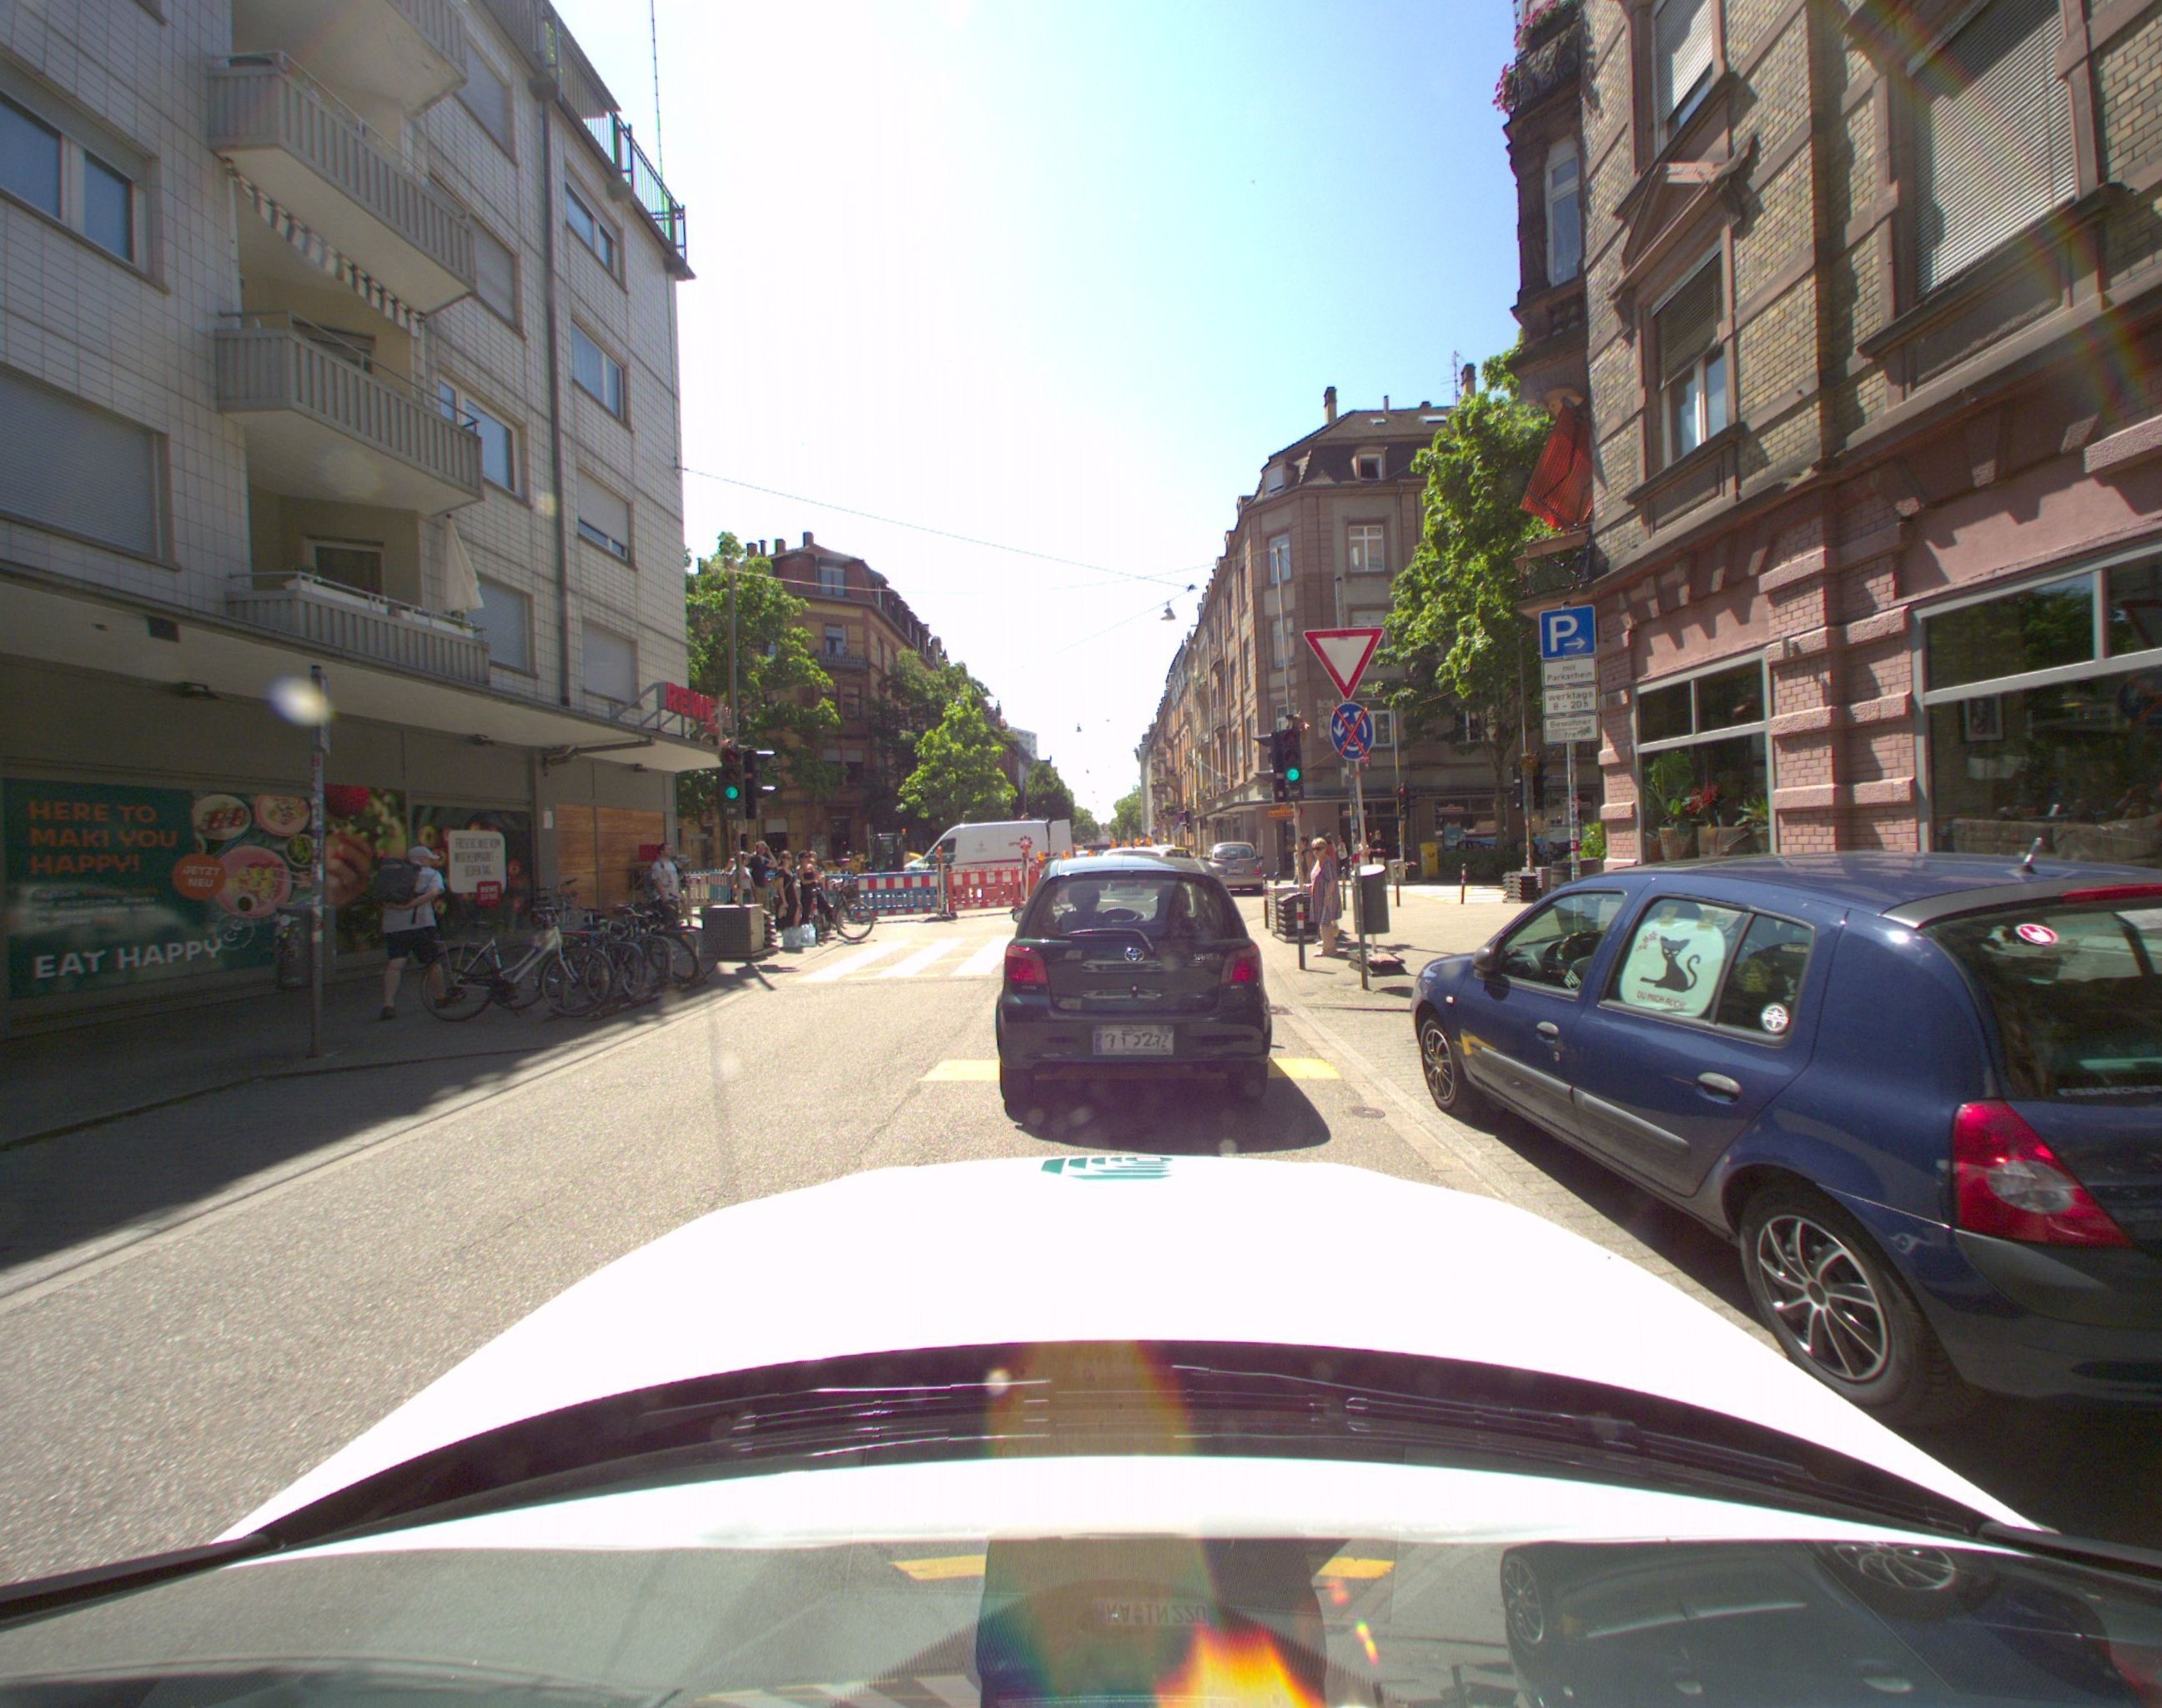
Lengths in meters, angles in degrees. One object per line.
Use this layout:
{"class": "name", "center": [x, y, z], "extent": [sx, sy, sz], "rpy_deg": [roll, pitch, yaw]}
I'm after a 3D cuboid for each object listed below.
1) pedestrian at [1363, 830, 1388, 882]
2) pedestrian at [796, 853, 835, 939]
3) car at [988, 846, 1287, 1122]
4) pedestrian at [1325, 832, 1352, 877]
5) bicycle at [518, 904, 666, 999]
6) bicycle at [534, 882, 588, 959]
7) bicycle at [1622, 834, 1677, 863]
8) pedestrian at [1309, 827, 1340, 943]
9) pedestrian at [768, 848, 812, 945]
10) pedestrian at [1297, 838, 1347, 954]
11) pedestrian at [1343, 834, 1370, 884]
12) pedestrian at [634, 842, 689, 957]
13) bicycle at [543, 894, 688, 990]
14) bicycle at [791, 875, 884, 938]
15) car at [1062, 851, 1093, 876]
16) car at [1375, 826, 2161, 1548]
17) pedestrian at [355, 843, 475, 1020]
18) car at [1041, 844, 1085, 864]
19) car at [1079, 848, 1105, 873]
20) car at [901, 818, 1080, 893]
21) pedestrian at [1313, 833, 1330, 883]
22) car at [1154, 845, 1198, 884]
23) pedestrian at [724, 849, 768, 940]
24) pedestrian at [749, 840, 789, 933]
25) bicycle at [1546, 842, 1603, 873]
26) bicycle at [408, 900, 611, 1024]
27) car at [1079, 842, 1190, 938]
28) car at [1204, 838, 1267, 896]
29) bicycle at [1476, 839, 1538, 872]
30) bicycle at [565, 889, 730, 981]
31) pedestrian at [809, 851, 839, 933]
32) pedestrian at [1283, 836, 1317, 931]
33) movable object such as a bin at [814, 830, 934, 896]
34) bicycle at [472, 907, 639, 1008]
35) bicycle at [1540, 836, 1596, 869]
{"class": "pedestrian", "center": [10.257, 0.056, 28.366], "extent": [0.574, 1.768, 0.470], "rpy_deg": [-4, 3, -7]}
{"class": "pedestrian", "center": [-4.959, 0.766, 15.230], "extent": [0.491, 1.565, 0.462], "rpy_deg": [0, 1, 28]}
{"class": "car", "center": [0.447, 0.711, 6.073], "extent": [1.606, 1.485, 3.245], "rpy_deg": [-1, 0, 5]}
{"class": "pedestrian", "center": [9.654, 0.022, 30.574], "extent": [0.797, 1.623, 0.644], "rpy_deg": [-2, 0, 6]}
{"class": "bicycle", "center": [-5.550, 1.095, 9.270], "extent": [1.444, 1.036, 0.335], "rpy_deg": [0, 0, -3]}
{"class": "bicycle", "center": [-8.272, 1.024, 12.987], "extent": [0.321, 1.086, 1.424], "rpy_deg": [-1, 1, -17]}
{"class": "bicycle", "center": [21.198, -0.210, 30.388], "extent": [1.719, 0.996, 0.504], "rpy_deg": [-2, 2, -3]}
{"class": "pedestrian", "center": [3.577, 0.446, 11.975], "extent": [0.330, 1.675, 0.402], "rpy_deg": [-2, 0, 8]}
{"class": "pedestrian", "center": [-5.055, 0.728, 14.165], "extent": [0.539, 1.633, 0.511], "rpy_deg": [-2, 0, -1]}
{"class": "pedestrian", "center": [3.321, 0.568, 11.252], "extent": [0.490, 1.543, 0.437], "rpy_deg": [-4, 0, 7]}
{"class": "pedestrian", "center": [9.530, 0.177, 28.145], "extent": [0.701, 1.645, 0.422], "rpy_deg": [-4, 3, -7]}
{"class": "pedestrian", "center": [-6.691, 0.709, 13.010], "extent": [0.507, 1.770, 0.599], "rpy_deg": [-2, 0, -1]}
{"class": "bicycle", "center": [-5.582, 1.045, 9.790], "extent": [1.515, 1.117, 0.335], "rpy_deg": [0, 0, -3]}
{"class": "bicycle", "center": [-4.611, 0.973, 15.403], "extent": [1.789, 1.119, 0.470], "rpy_deg": [0, 1, 23]}
{"class": "car", "center": [-0.158, 0.587, 51.753], "extent": [1.748, 1.444, 4.002], "rpy_deg": [-3, 0, 2]}
{"class": "car", "center": [2.769, 0.667, 3.523], "extent": [1.622, 1.432, 3.660], "rpy_deg": [-3, 0, 0]}
{"class": "pedestrian", "center": [-6.815, 0.763, 8.361], "extent": [0.628, 1.726, 0.658], "rpy_deg": [-2, 0, 2]}
{"class": "car", "center": [-2.071, 0.000, 93.593], "extent": [4.581, 2.187, 1.983], "rpy_deg": [-2, 0, -26]}
{"class": "car", "center": [0.844, 0.465, 61.407], "extent": [1.748, 1.645, 4.380], "rpy_deg": [-5, 0, 2]}
{"class": "car", "center": [-3.418, 0.055, 31.731], "extent": [6.594, 2.751, 2.381], "rpy_deg": [0, 0, 2]}
{"class": "pedestrian", "center": [8.558, 0.140, 28.972], "extent": [0.473, 1.732, 0.876], "rpy_deg": [-2, -1, 21]}
{"class": "car", "center": [4.012, 0.402, 33.963], "extent": [1.618, 1.432, 3.669], "rpy_deg": [-3, 0, 8]}
{"class": "pedestrian", "center": [-6.216, 0.731, 15.117], "extent": [0.507, 1.633, 0.599], "rpy_deg": [-2, 0, -1]}
{"class": "pedestrian", "center": [-6.246, 0.637, 16.329], "extent": [0.507, 1.820, 0.599], "rpy_deg": [-2, 0, -1]}
{"class": "bicycle", "center": [17.412, 0.130, 28.766], "extent": [1.756, 0.996, 0.470], "rpy_deg": [-2, 2, -3]}
{"class": "bicycle", "center": [-5.595, 1.043, 8.028], "extent": [1.580, 1.139, 0.526], "rpy_deg": [0, 0, -3]}
{"class": "car", "center": [1.080, 0.569, 14.798], "extent": [1.512, 1.521, 3.275], "rpy_deg": [-2, 0, 12]}
{"class": "car", "center": [4.677, 0.334, 24.379], "extent": [1.511, 1.592, 3.278], "rpy_deg": [-2, 0, 16]}
{"class": "bicycle", "center": [15.800, 0.050, 30.251], "extent": [1.964, 1.132, 0.519], "rpy_deg": [-2, 0, 19]}
{"class": "bicycle", "center": [-5.597, 1.027, 10.586], "extent": [1.794, 1.123, 0.577], "rpy_deg": [0, 0, -5]}
{"class": "pedestrian", "center": [-5.158, 0.751, 16.358], "extent": [0.388, 1.618, 0.475], "rpy_deg": [-2, 0, -1]}
{"class": "pedestrian", "center": [3.664, 0.482, 13.646], "extent": [0.457, 1.560, 0.480], "rpy_deg": [-2, 0, 8]}
{"class": "movable object such as a bin", "center": [-8.694, 0.368, 34.519], "extent": [4.526, 2.659, 1.956], "rpy_deg": [0, 0, 1]}
{"class": "bicycle", "center": [-5.599, 1.096, 8.721], "extent": [1.490, 1.030, 0.397], "rpy_deg": [0, 0, -3]}
{"class": "bicycle", "center": [17.428, -0.067, 29.146], "extent": [1.756, 1.080, 0.470], "rpy_deg": [-2, 2, -3]}
